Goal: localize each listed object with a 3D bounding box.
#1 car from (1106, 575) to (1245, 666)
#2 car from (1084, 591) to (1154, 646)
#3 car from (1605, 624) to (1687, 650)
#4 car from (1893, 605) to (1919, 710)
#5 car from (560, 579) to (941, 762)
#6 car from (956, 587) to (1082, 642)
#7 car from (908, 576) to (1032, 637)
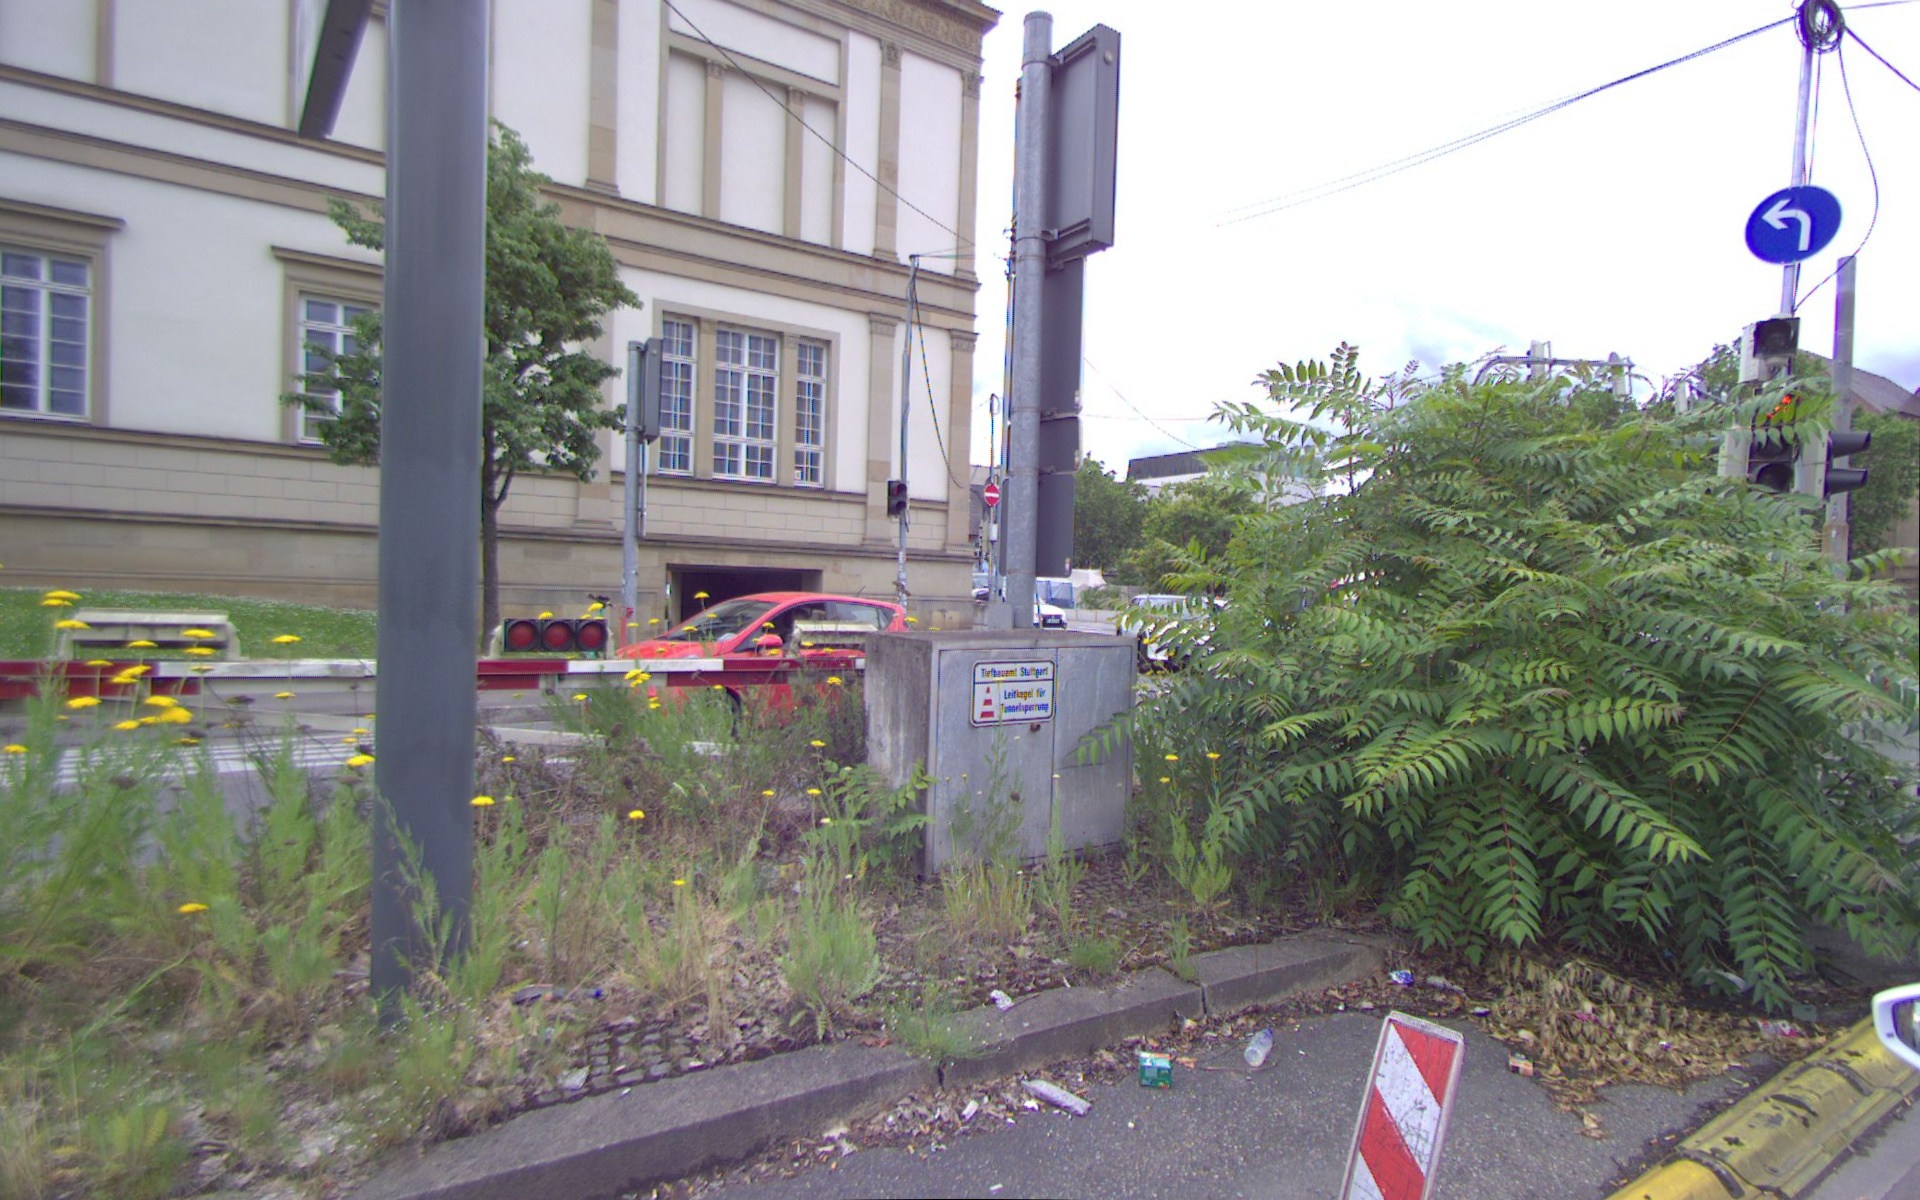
[{"bbox_3d":[4.510,0.416,21.688,1.840,1.713,4.266,2,0,-3],"label":"car"},{"bbox_3d":[5.436,0.613,34.885,1.839,1.713,4.269,2,0,2],"label":"car"},{"bbox_3d":[38.367,2.068,56.242,3.567,1.271,1.672,2,0,43],"label":"car"},{"bbox_3d":[17.060,0.957,14.650,2.001,1.646,4.774,2,0,-36],"label":"car"},{"bbox_3d":[-2.027,0.645,10.415,1.624,1.497,3.556,4,1,42],"label":"car"},{"bbox_3d":[1.851,0.485,32.624,1.887,1.646,4.064,-1,-1,-37],"label":"car"},{"bbox_3d":[0.294,0.253,41.621,2.280,2.336,5.723,2,0,-34],"label":"car"}]
